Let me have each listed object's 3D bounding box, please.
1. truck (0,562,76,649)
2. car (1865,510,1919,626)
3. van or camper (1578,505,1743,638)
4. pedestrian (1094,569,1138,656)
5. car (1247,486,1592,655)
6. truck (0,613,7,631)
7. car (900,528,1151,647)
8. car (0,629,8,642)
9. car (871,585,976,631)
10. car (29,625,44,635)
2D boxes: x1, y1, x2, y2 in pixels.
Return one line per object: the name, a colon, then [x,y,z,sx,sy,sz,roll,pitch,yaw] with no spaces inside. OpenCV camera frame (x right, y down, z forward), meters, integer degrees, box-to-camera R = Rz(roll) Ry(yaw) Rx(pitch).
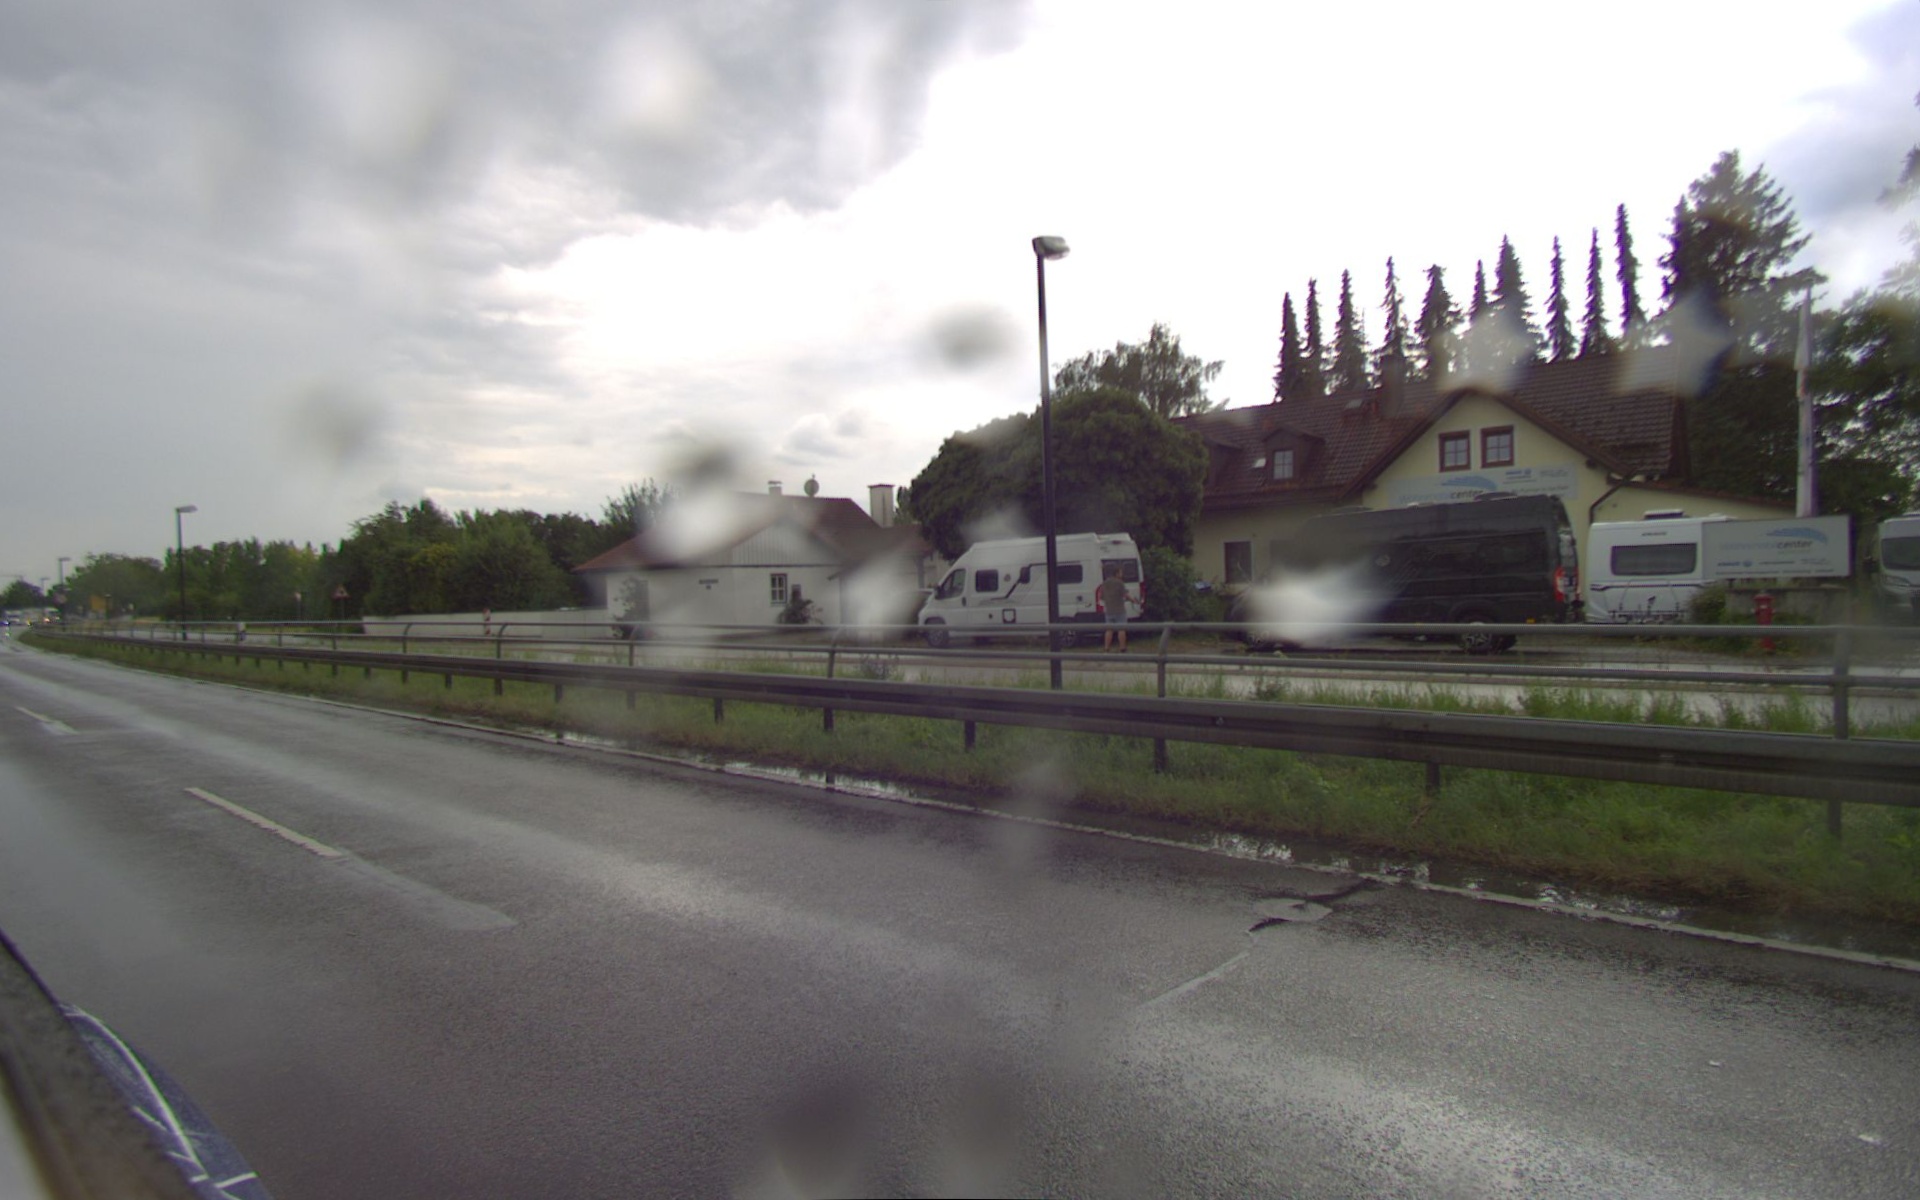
truck: [-57.785,0.369,62.943,7.782,5.071,3.214,-1,1,43]
car: [22.338,-0.769,23.266,2.090,2.435,6.030,-2,1,41]
van or camper: [16.116,-0.645,23.108,2.560,2.611,6.161,-2,1,39]
pedestrian: [3.167,0.257,20.560,0.509,1.723,0.651,-2,1,-41]
car: [8.659,-0.471,19.375,5.567,2.783,2.360,-2,1,39]
truck: [-136.748,3.112,142.969,7.170,2.494,2.762,-1,1,44]
car: [1.498,-0.251,25.064,6.014,2.600,2.215,-2,1,40]
car: [-162.508,5.990,171.062,4.098,2.029,1.973,-2,1,42]
car: [-1.185,0.274,32.354,3.269,1.366,1.433,-1,1,42]
car: [-173.272,5.572,189.864,4.026,1.746,1.788,-2,1,42]
